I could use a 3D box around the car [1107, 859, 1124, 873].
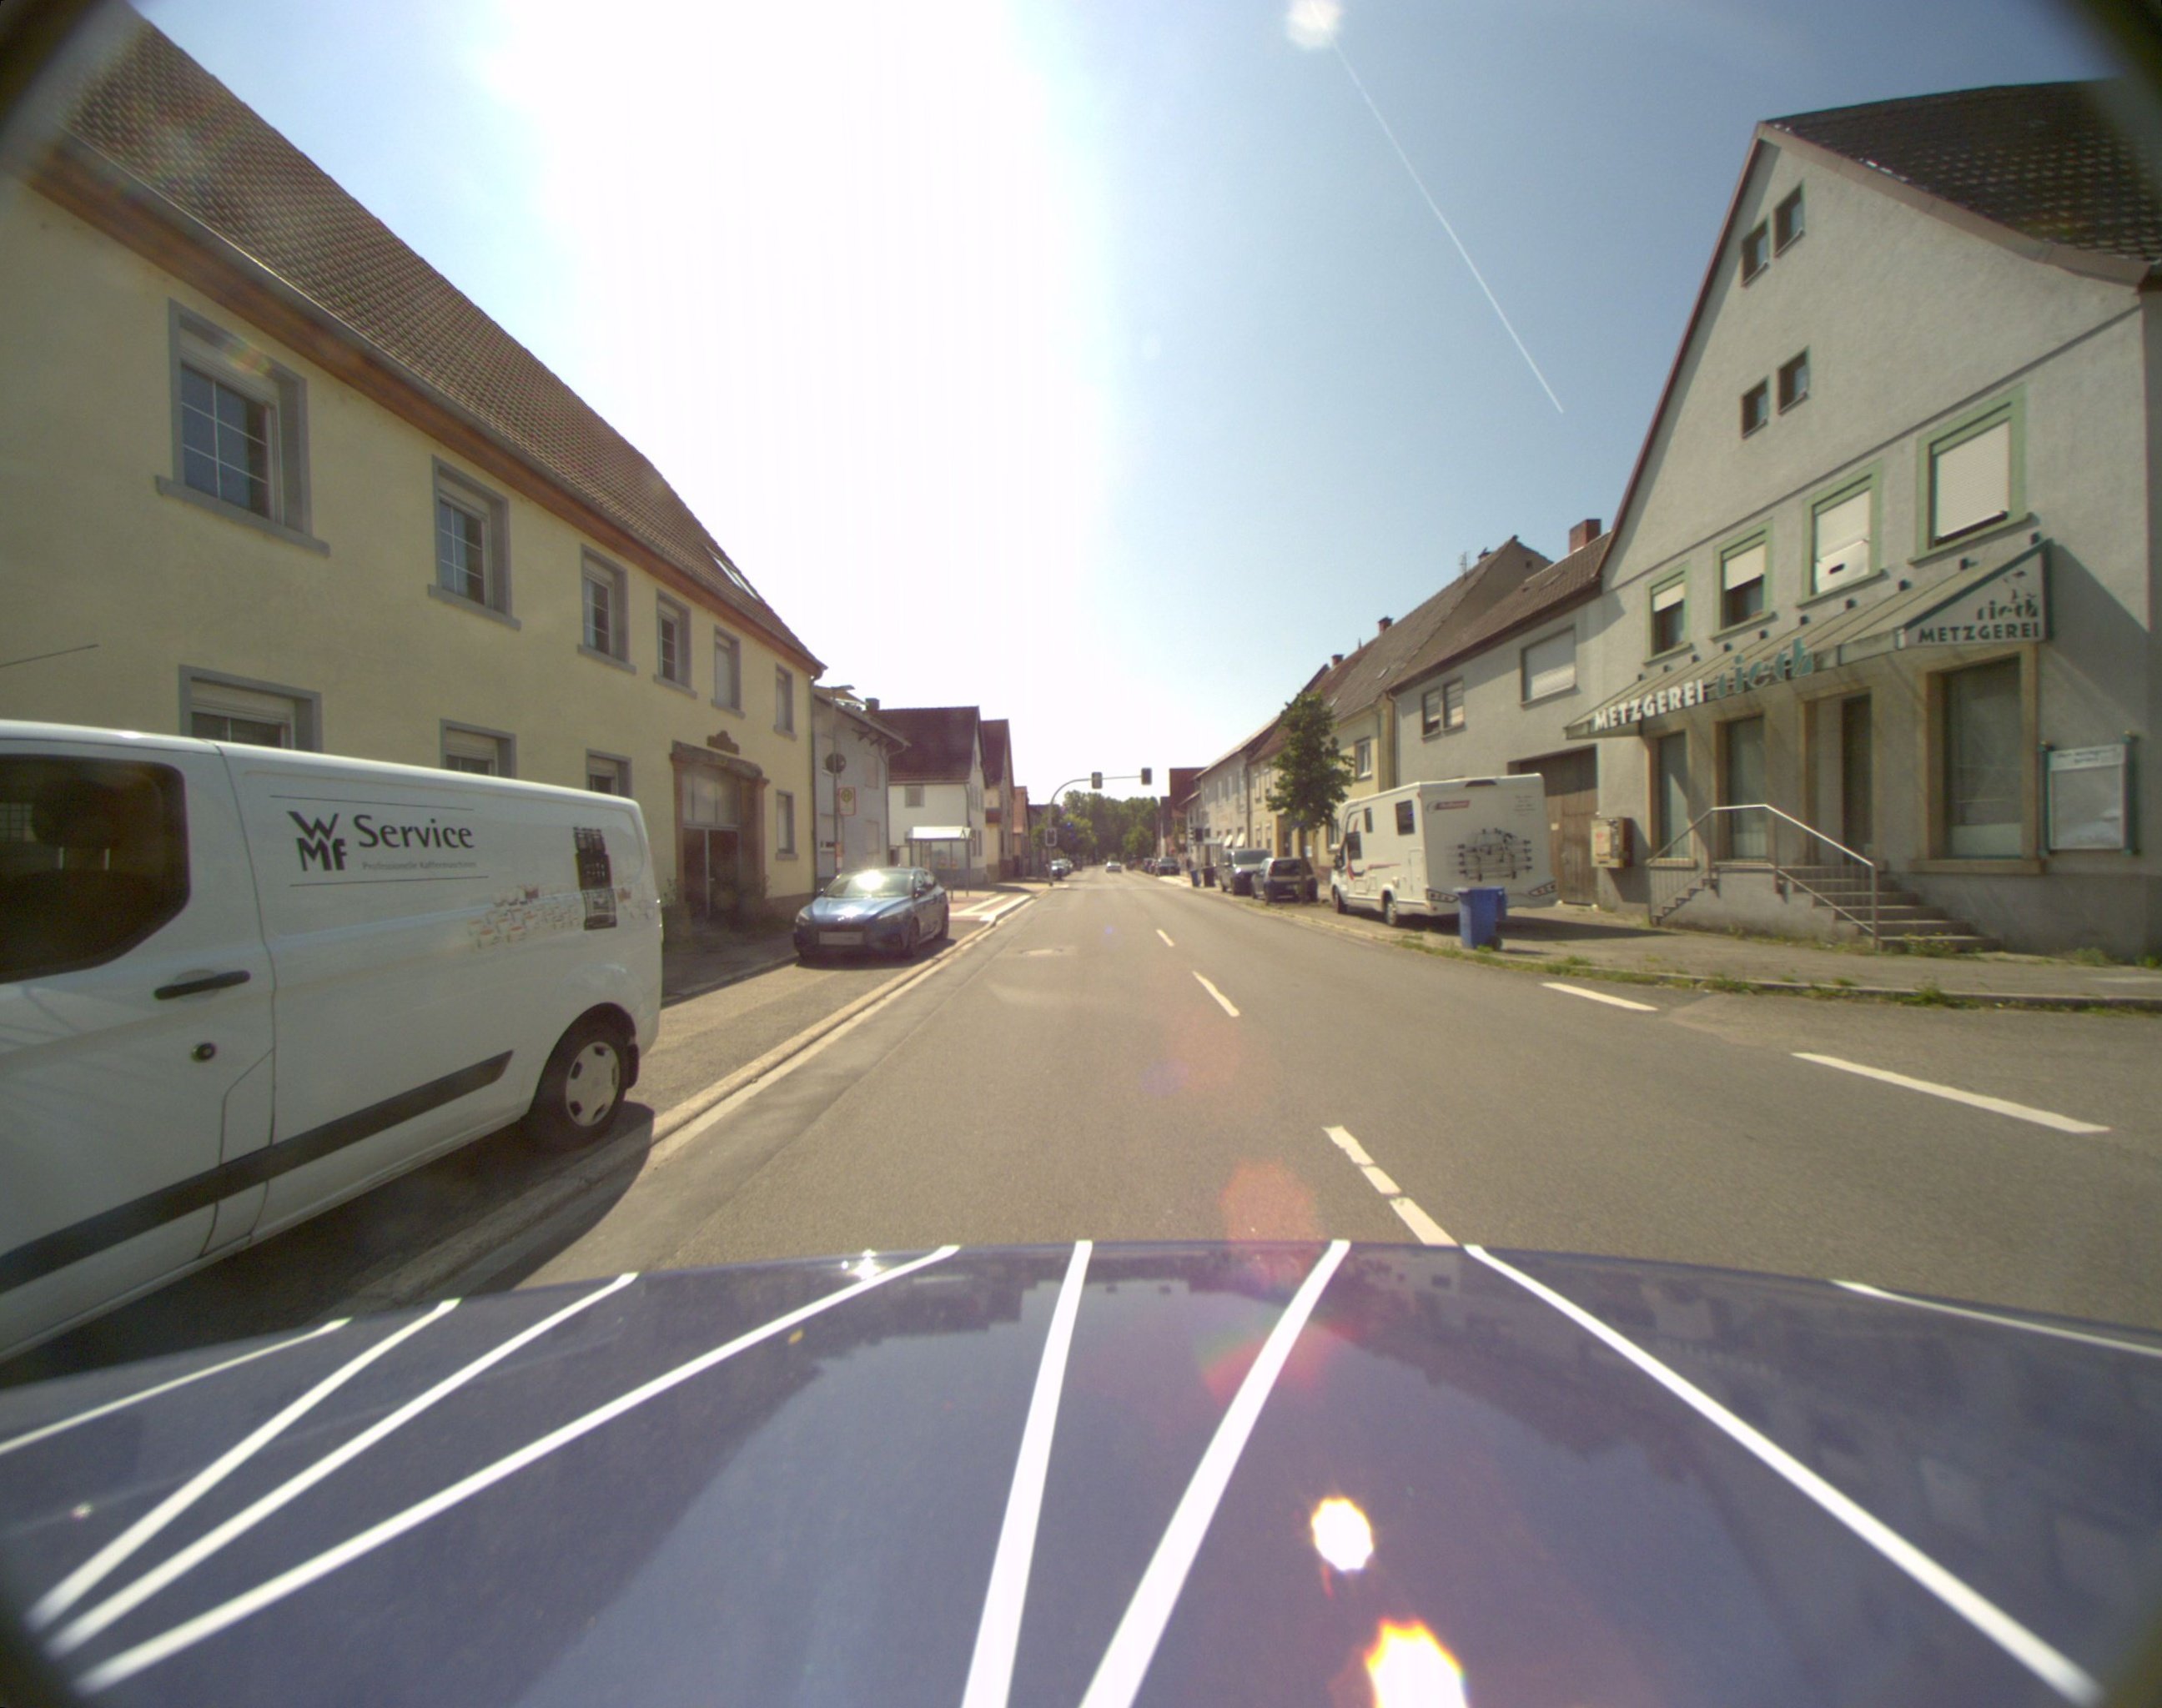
[{"bbox_3d":[4.088,1.384,89.846,1.998,1.521,4.001,-2,0,2],"label":"car"}]

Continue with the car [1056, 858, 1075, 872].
[{"bbox_3d":[-1.706,1.177,83.691,1.998,1.477,4.000,-2,0,0],"label":"car"}]

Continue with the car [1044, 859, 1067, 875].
[{"bbox_3d":[-2.416,1.261,73.593,1.998,1.477,4.000,-2,0,0],"label":"car"}]

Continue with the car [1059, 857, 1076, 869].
[{"bbox_3d":[-1.742,1.176,97.433,1.998,1.477,4.000,-2,0,0],"label":"car"}]

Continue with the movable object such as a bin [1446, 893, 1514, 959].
[{"bbox_3d":[5.733,1.025,10.947,0.644,0.867,0.613,-2,0,0],"label":"movable object such as a bin"}]

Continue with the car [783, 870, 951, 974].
[{"bbox_3d":[-3.472,1.038,13.106,1.733,1.419,3.986,-1,0,0],"label":"car"}]

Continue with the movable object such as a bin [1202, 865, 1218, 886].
[{"bbox_3d":[6.712,1.132,39.486,0.718,1.060,0.550,-2,0,-1],"label":"movable object such as a bin"}]

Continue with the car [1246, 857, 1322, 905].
[{"bbox_3d":[6.898,0.867,26.149,1.689,1.473,3.618,-2,0,1],"label":"car"}]

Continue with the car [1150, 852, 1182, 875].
[{"bbox_3d":[7.219,0.804,64.929,2.355,1.837,4.957,-1,0,3],"label":"car"}]

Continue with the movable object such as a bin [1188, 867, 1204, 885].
[{"bbox_3d":[6.187,1.193,40.834,0.718,0.907,0.550,-2,0,-1],"label":"movable object such as a bin"}]

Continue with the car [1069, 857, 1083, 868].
[{"bbox_3d":[-0.783,1.312,117.934,1.998,1.659,4.000,-2,0,0],"label":"car"}]

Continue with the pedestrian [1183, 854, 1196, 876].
[{"bbox_3d":[7.783,0.766,54.497,0.752,1.523,0.581,-2,0,0],"label":"pedestrian"}]

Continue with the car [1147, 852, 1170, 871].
[{"bbox_3d":[7.626,0.736,75.036,1.998,1.837,4.957,-1,0,3],"label":"car"}]

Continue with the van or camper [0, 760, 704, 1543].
[{"bbox_3d":[-3.673,0.734,2.699,1.998,1.942,5.346,0,0,0],"label":"van or camper"}]

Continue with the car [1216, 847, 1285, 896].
[{"bbox_3d":[6.983,0.687,31.800,1.998,1.837,4.957,-2,0,3],"label":"car"}]

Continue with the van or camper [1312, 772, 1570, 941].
[{"bbox_3d":[7.382,0.054,16.839,2.451,2.888,7.068,-2,0,1],"label":"van or camper"}]
